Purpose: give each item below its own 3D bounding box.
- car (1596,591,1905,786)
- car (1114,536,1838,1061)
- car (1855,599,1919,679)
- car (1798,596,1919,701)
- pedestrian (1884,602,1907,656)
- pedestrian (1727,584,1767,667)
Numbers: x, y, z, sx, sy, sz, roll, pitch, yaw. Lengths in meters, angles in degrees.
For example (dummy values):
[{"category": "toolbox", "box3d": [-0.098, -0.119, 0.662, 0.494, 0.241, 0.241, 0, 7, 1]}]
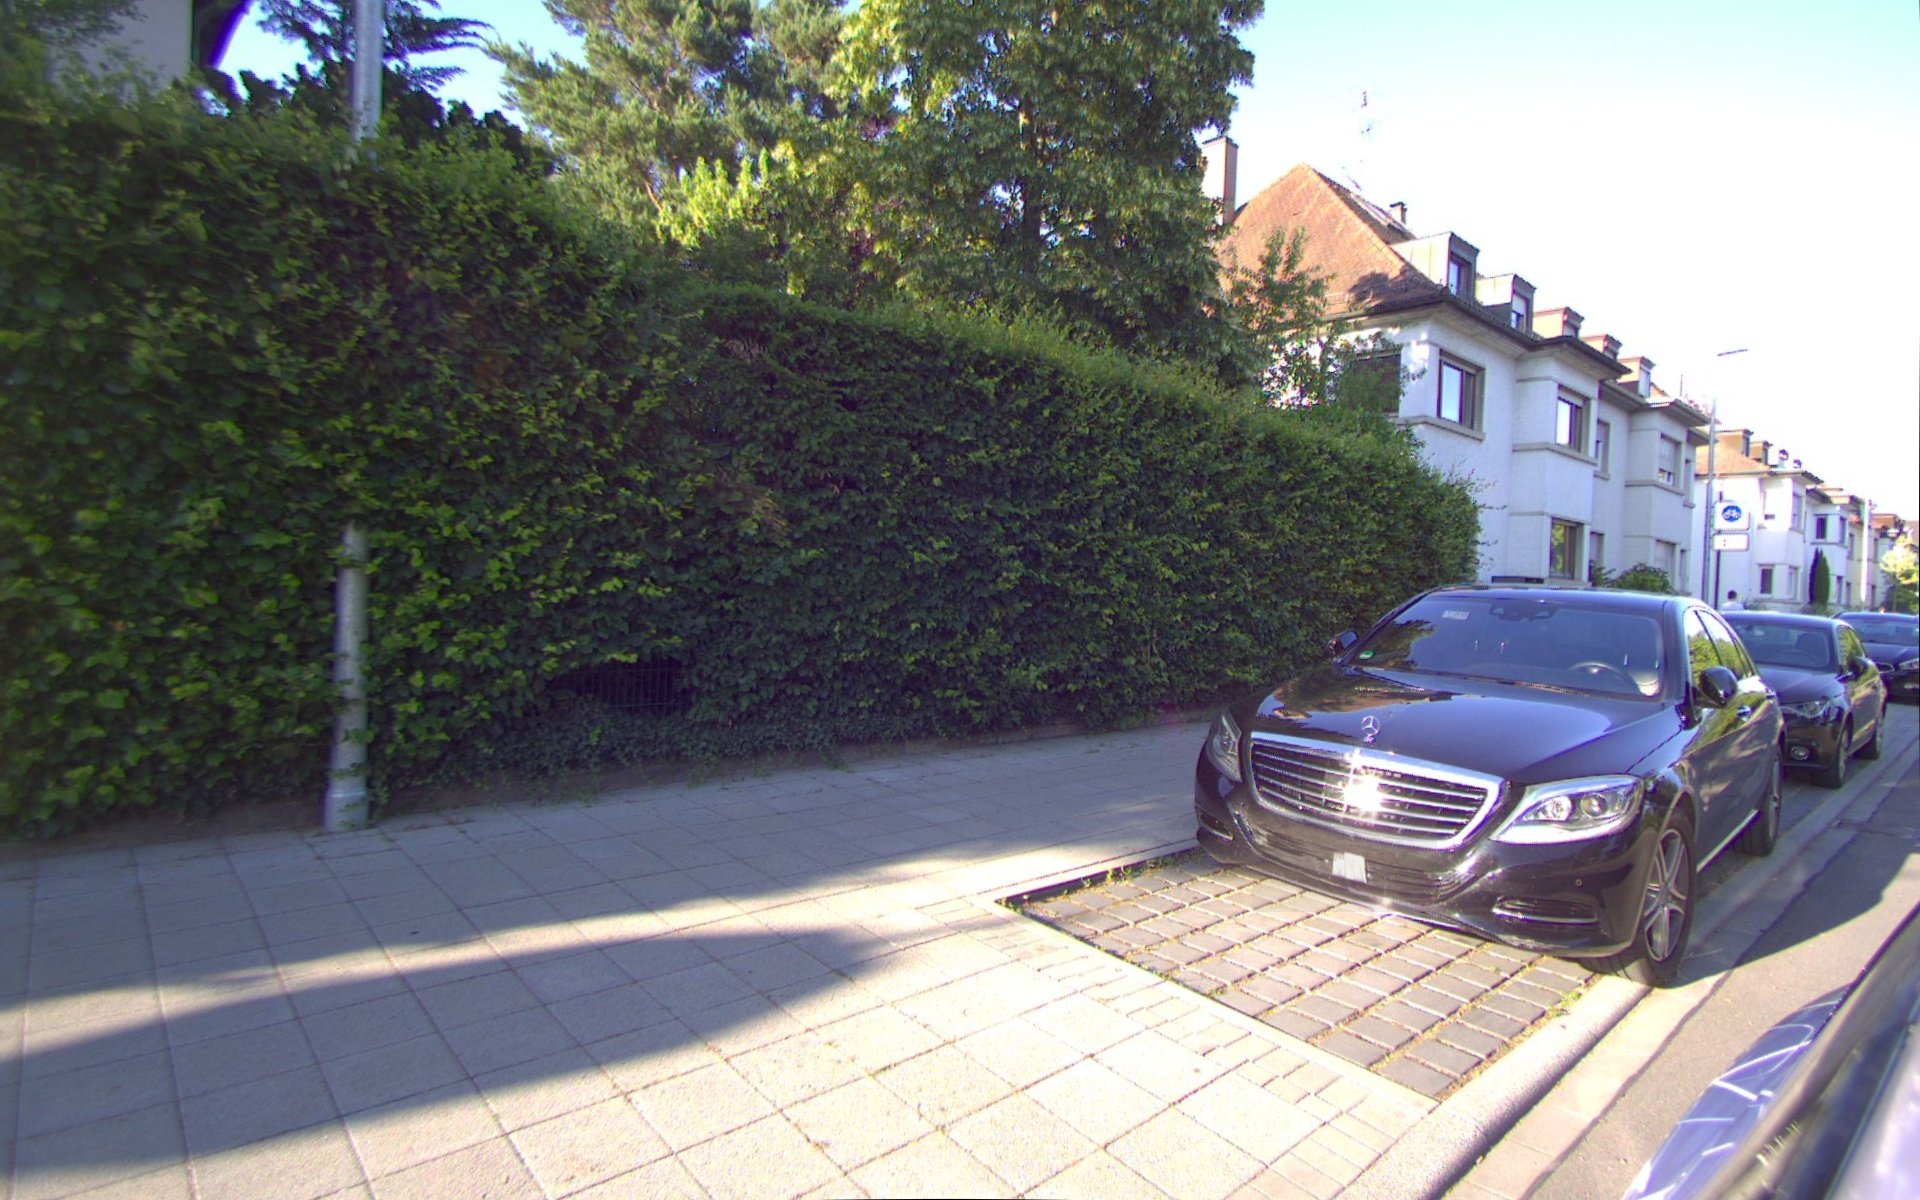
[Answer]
[{"category": "car", "box3d": [7.760, 0.704, 9.804, 3.932, 1.496, 1.781, 1, -1, -43]}, {"category": "car", "box3d": [3.123, 0.570, 5.448, 4.835, 1.516, 2.006, 1, 4, -45]}, {"category": "car", "box3d": [19.906, 0.791, 20.919, 3.410, 1.554, 1.679, 1, -1, -41]}, {"category": "car", "box3d": [15.863, 0.783, 17.370, 4.007, 1.616, 1.793, 1, -1, -43]}, {"category": "pedestrian", "box3d": [31.729, 0.967, 34.322, 0.579, 1.821, 0.530, 1, -1, -44]}, {"category": "pedestrian", "box3d": [18.102, 0.564, 23.279, 0.809, 1.869, 0.587, 0, 0, -41]}]
